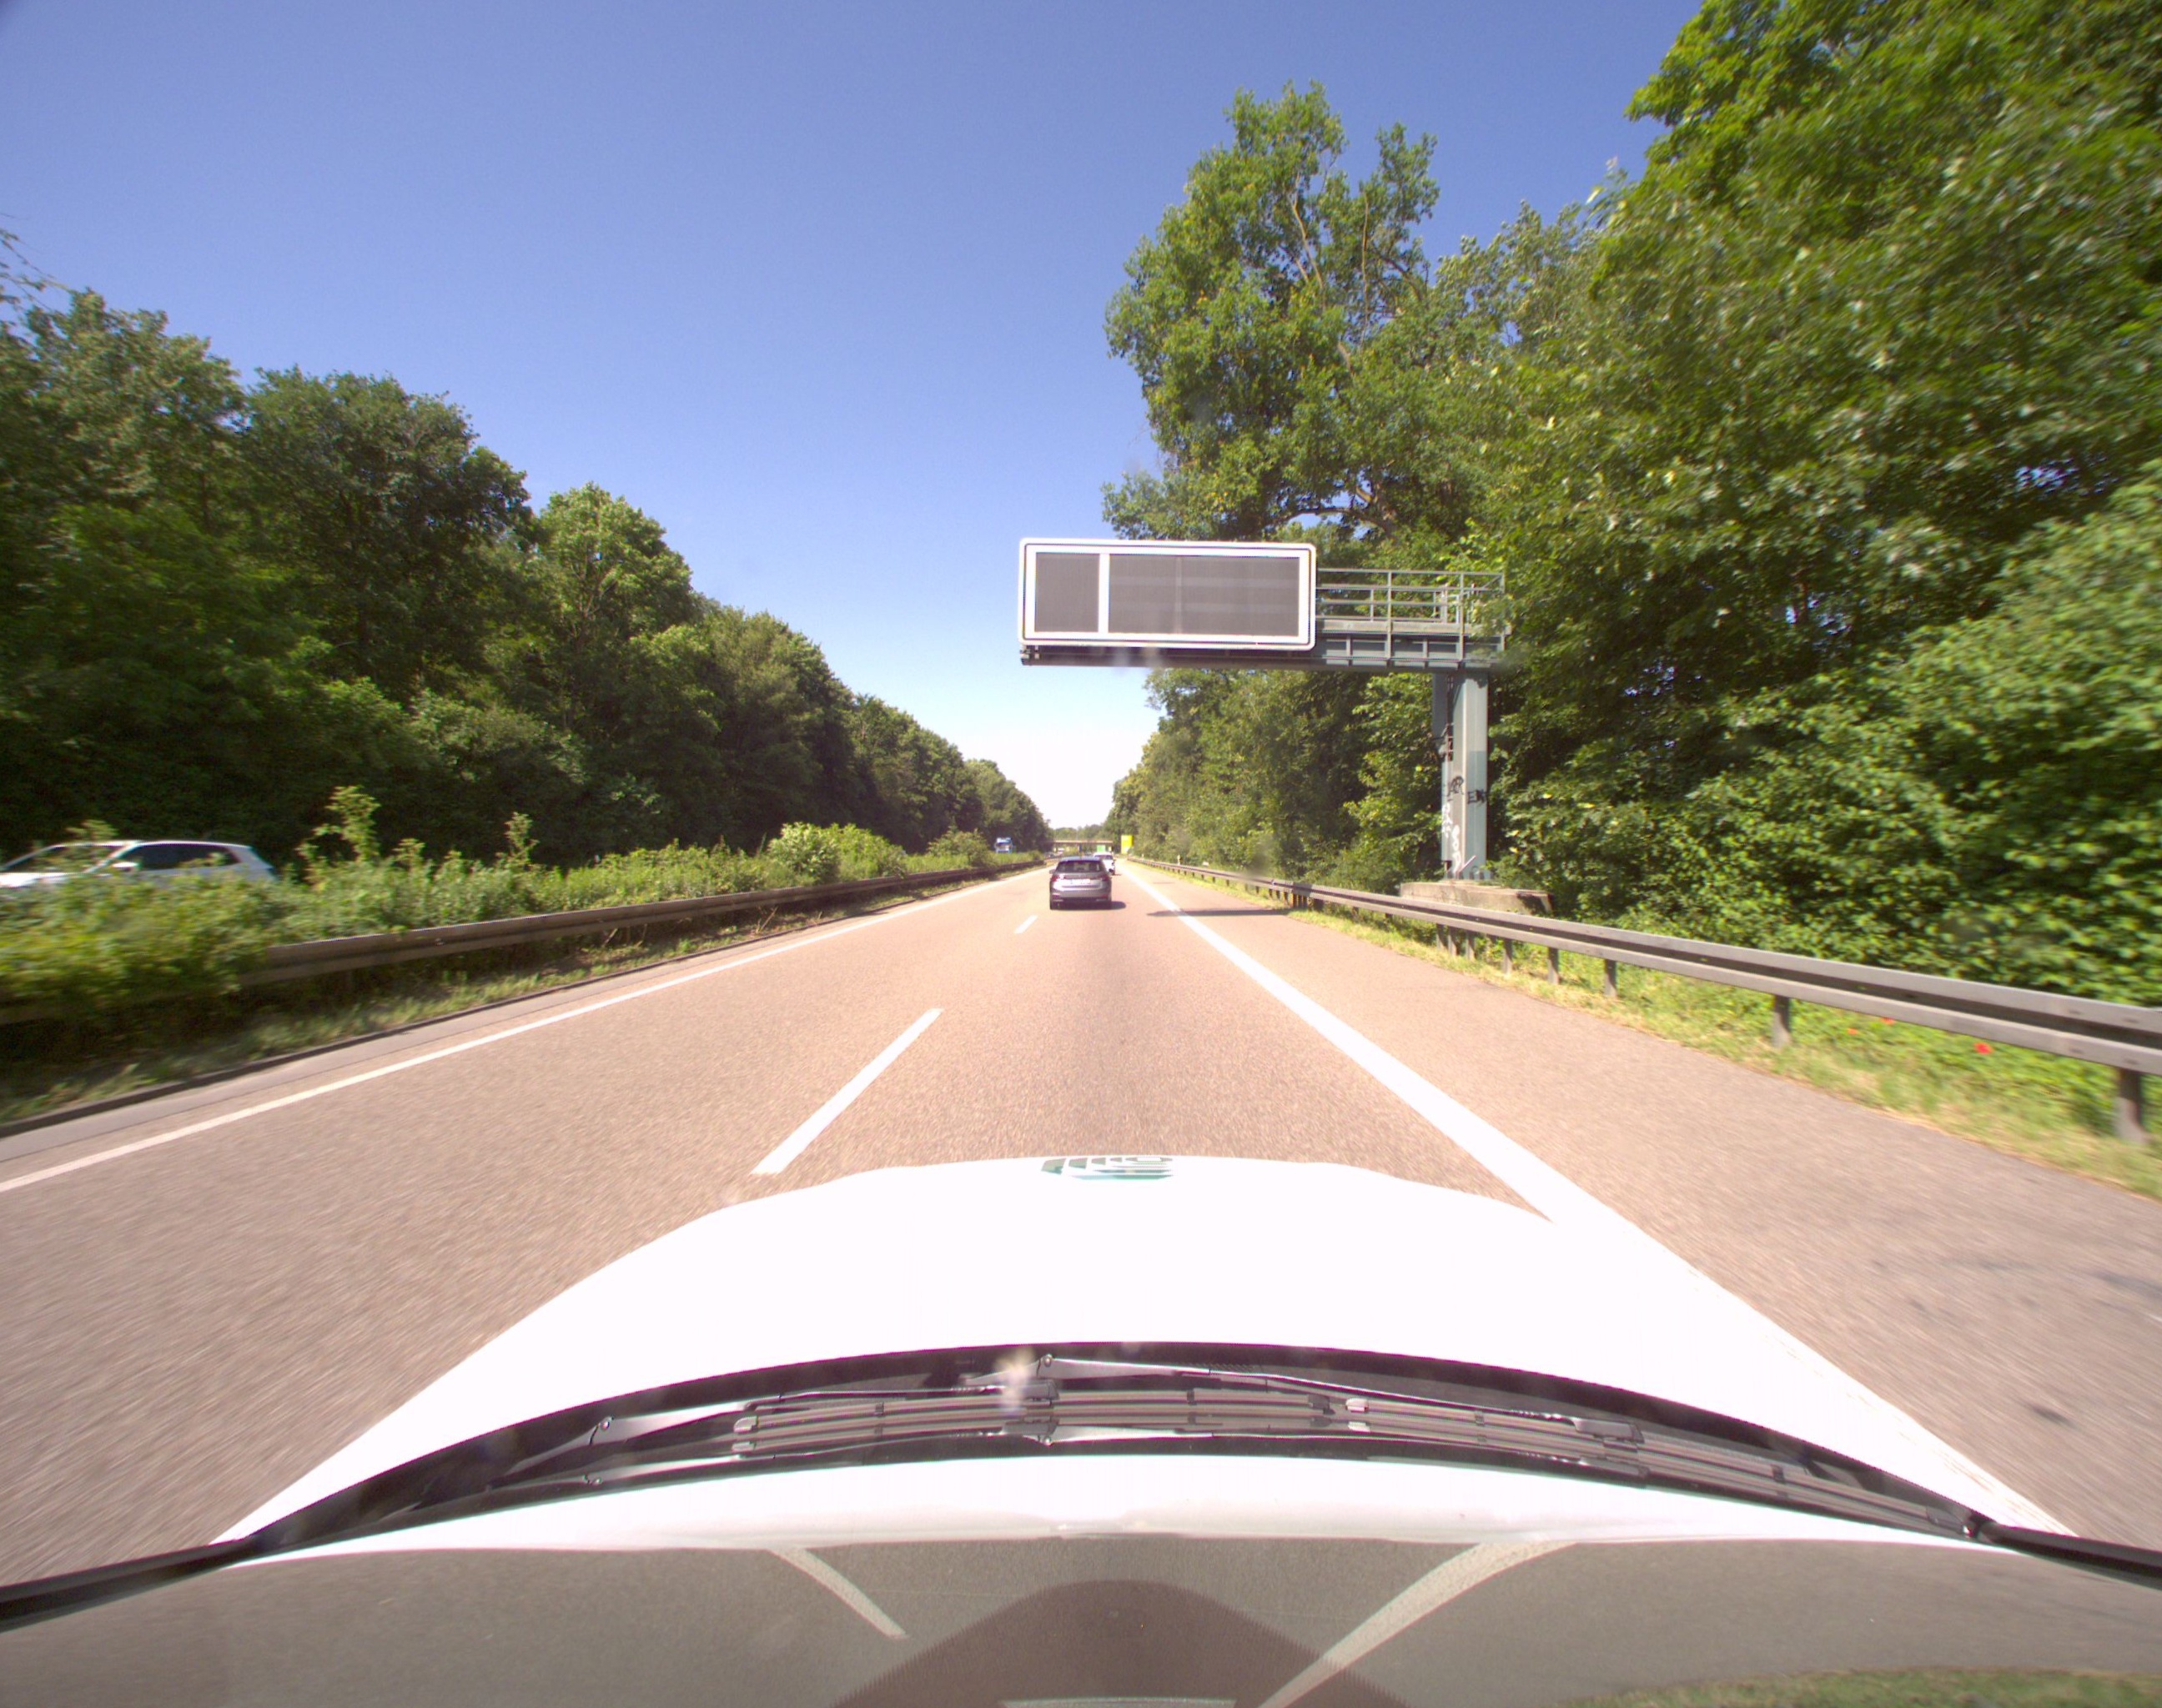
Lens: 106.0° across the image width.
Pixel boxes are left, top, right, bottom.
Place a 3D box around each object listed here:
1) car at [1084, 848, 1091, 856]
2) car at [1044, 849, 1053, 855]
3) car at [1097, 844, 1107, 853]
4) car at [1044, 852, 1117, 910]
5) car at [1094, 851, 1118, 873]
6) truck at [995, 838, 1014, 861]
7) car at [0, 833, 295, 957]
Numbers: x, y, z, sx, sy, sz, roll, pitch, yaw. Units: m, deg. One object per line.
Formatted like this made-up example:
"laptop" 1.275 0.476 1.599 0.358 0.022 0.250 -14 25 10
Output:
"car" 1.760 -0.520 221.629 1.986 2.013 4.001 -1 0 1
"car" -7.600 -0.523 191.940 1.665 1.473 3.626 -1 0 3
"car" 6.296 -1.531 244.208 2.739 2.654 4.001 -1 0 1
"car" 0.065 0.711 23.107 1.832 1.472 3.626 -1 0 3
"car" 1.751 0.515 55.730 1.516 1.446 3.343 -1 0 3
"truck" -12.472 -0.686 132.764 2.636 3.706 4.002 -1 0 2
"car" -15.298 0.560 12.946 1.687 1.662 4.000 -1 0 1
